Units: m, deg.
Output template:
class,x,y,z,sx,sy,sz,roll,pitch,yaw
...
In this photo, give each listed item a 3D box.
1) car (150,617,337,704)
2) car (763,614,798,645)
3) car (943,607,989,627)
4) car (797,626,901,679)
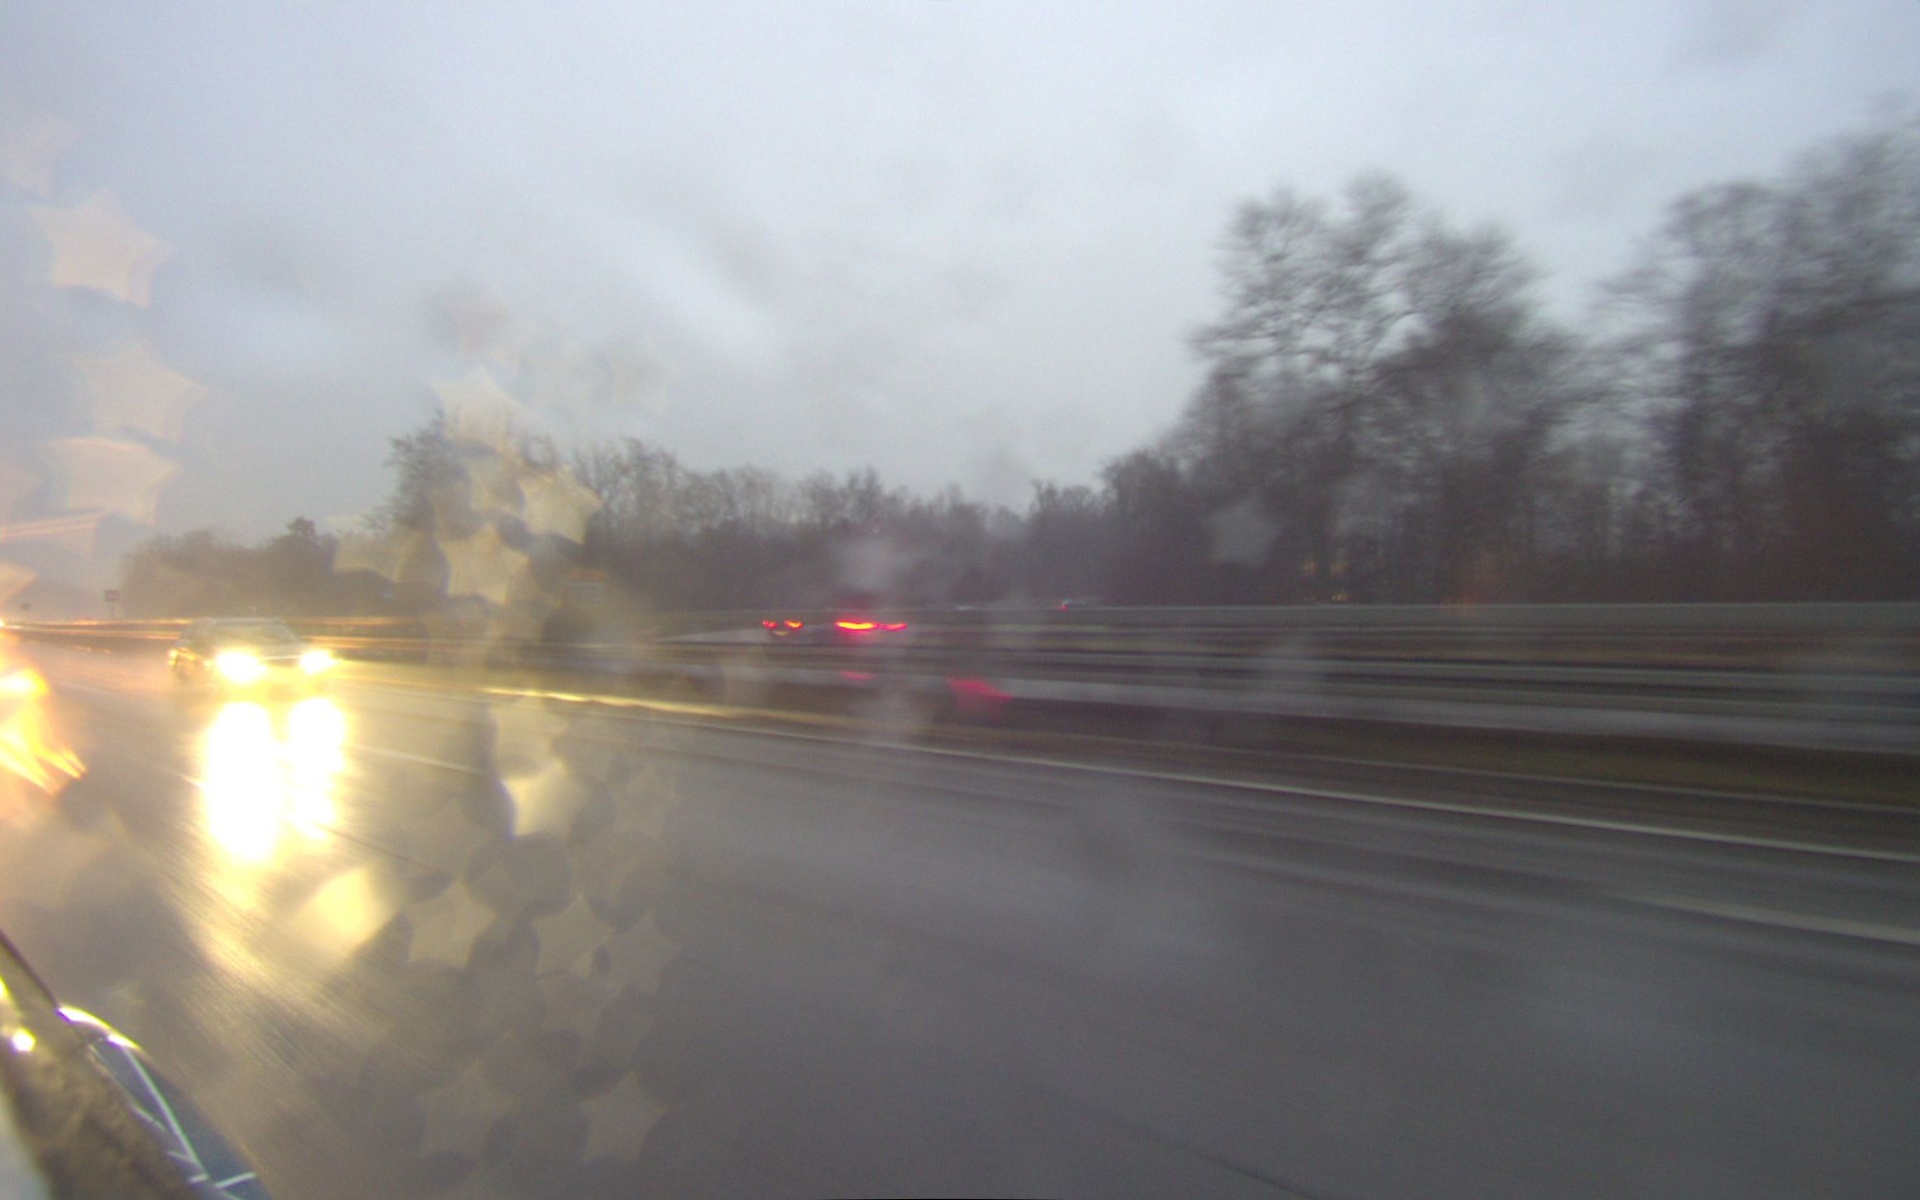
class,x,y,z,sx,sy,sz,roll,pitch,yaw
car,-14.243,1.138,20.035,4.406,1.479,1.781,-2,0,37
car,-9.983,1.600,56.199,1.720,1.498,4.010,-2,1,-12
car,0.532,1.401,84.821,1.748,1.498,3.946,-1,1,41
car,-3.880,1.736,34.668,1.719,1.498,4.442,-3,1,-32
